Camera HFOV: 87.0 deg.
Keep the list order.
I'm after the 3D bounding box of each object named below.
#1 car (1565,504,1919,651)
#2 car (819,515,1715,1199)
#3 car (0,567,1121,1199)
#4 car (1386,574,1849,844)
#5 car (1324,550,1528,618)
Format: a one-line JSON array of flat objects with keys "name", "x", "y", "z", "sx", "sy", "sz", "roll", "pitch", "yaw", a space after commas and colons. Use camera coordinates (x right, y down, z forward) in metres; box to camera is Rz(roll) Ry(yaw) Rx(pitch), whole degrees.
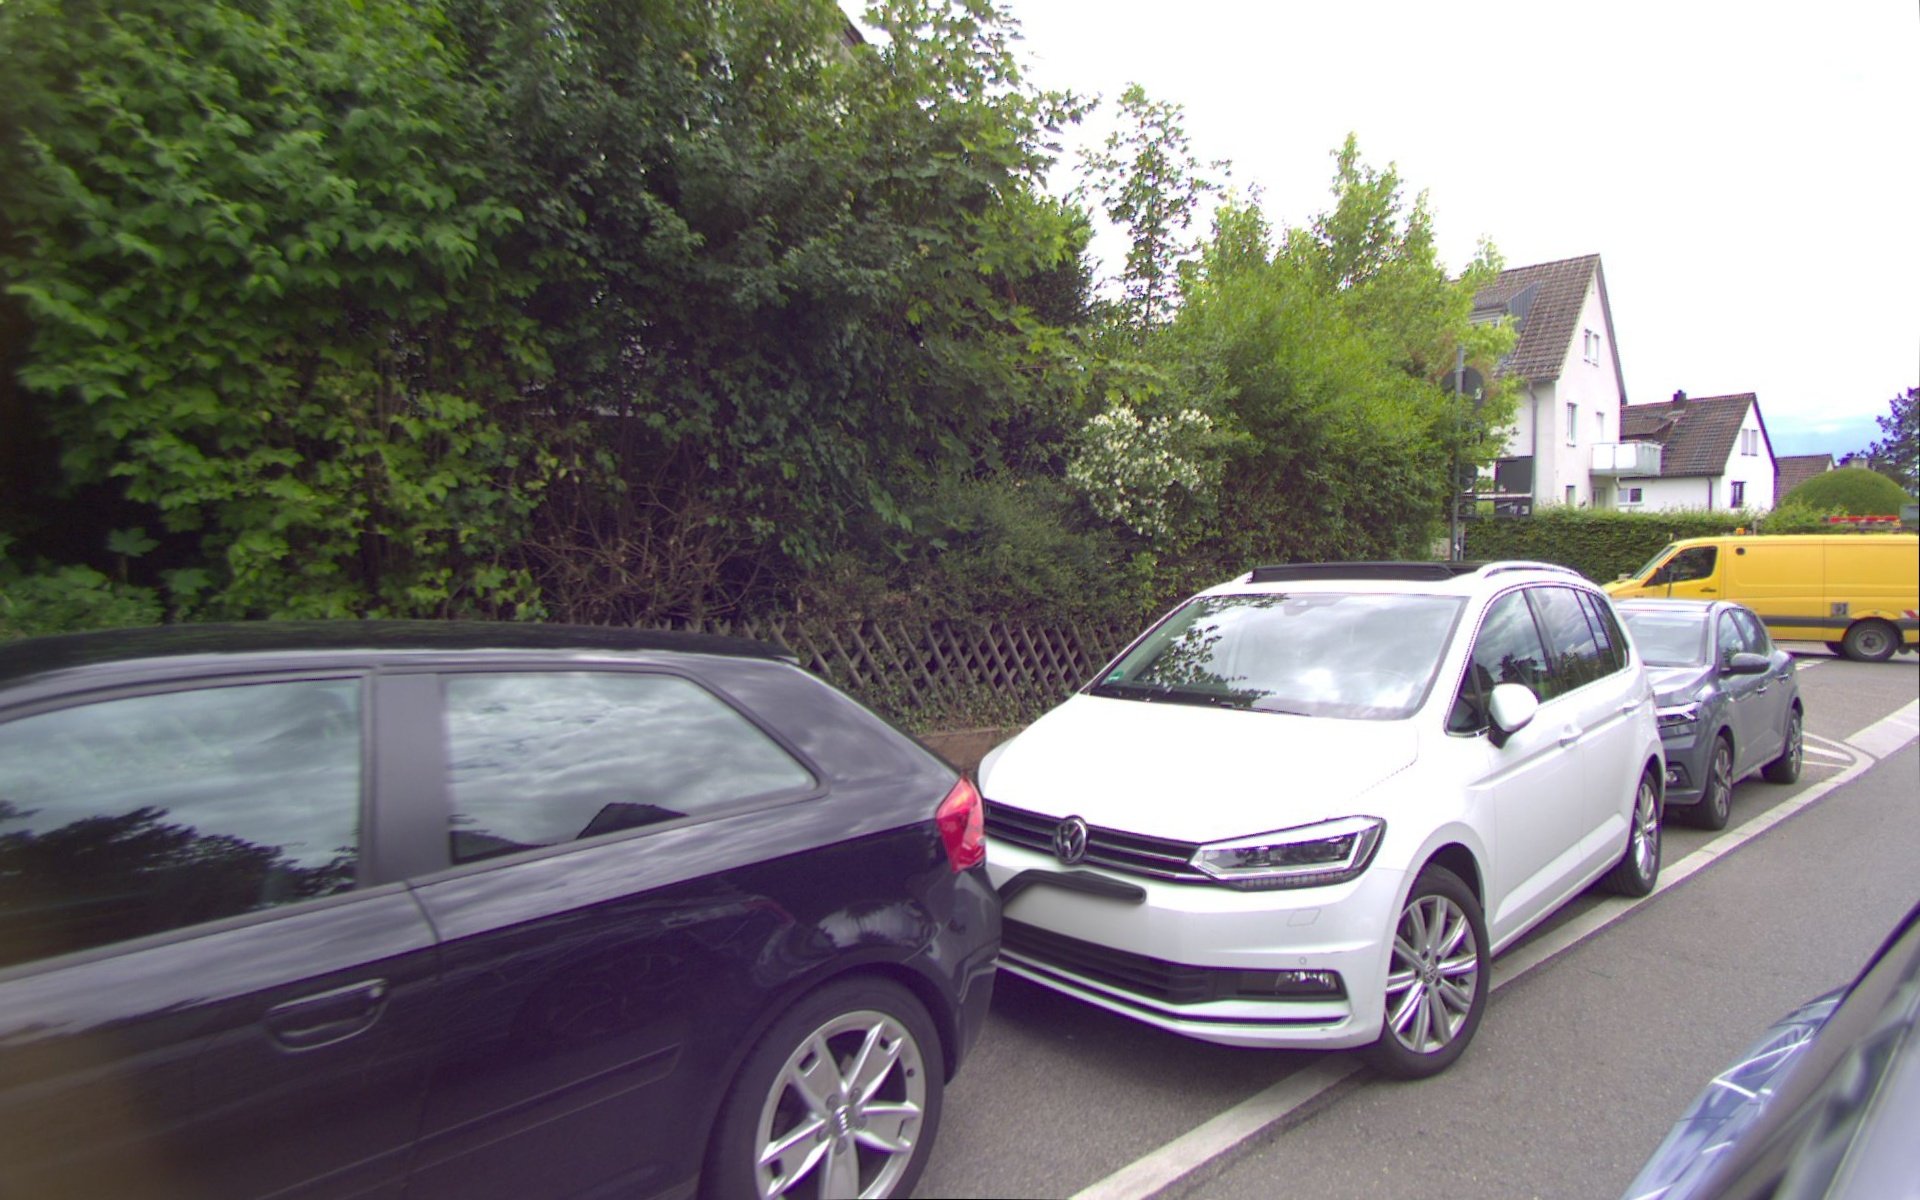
[{"name": "car", "x": 15.853, "y": -0.544, "z": 20.460, "sx": 6.096, "sy": 2.633, "sz": 2.342, "roll": 3, "pitch": 2, "yaw": 31}, {"name": "car", "x": 1.843, "y": 0.557, "z": 4.749, "sx": 4.681, "sy": 1.628, "sz": 2.002, "roll": 0, "pitch": 3, "yaw": -45}, {"name": "car", "x": -1.740, "y": 0.697, "z": 1.894, "sx": 4.307, "sy": 1.470, "sz": 1.811, "roll": -1, "pitch": 3, "yaw": -44}, {"name": "car", "x": 5.405, "y": 0.623, "z": 8.075, "sx": 4.378, "sy": 1.510, "sz": 1.941, "roll": 0, "pitch": 3, "yaw": -41}, {"name": "car", "x": 12.122, "y": -0.453, "z": 26.450, "sx": 4.494, "sy": 1.452, "sz": 1.974, "roll": 5, "pitch": 3, "yaw": 36}]
